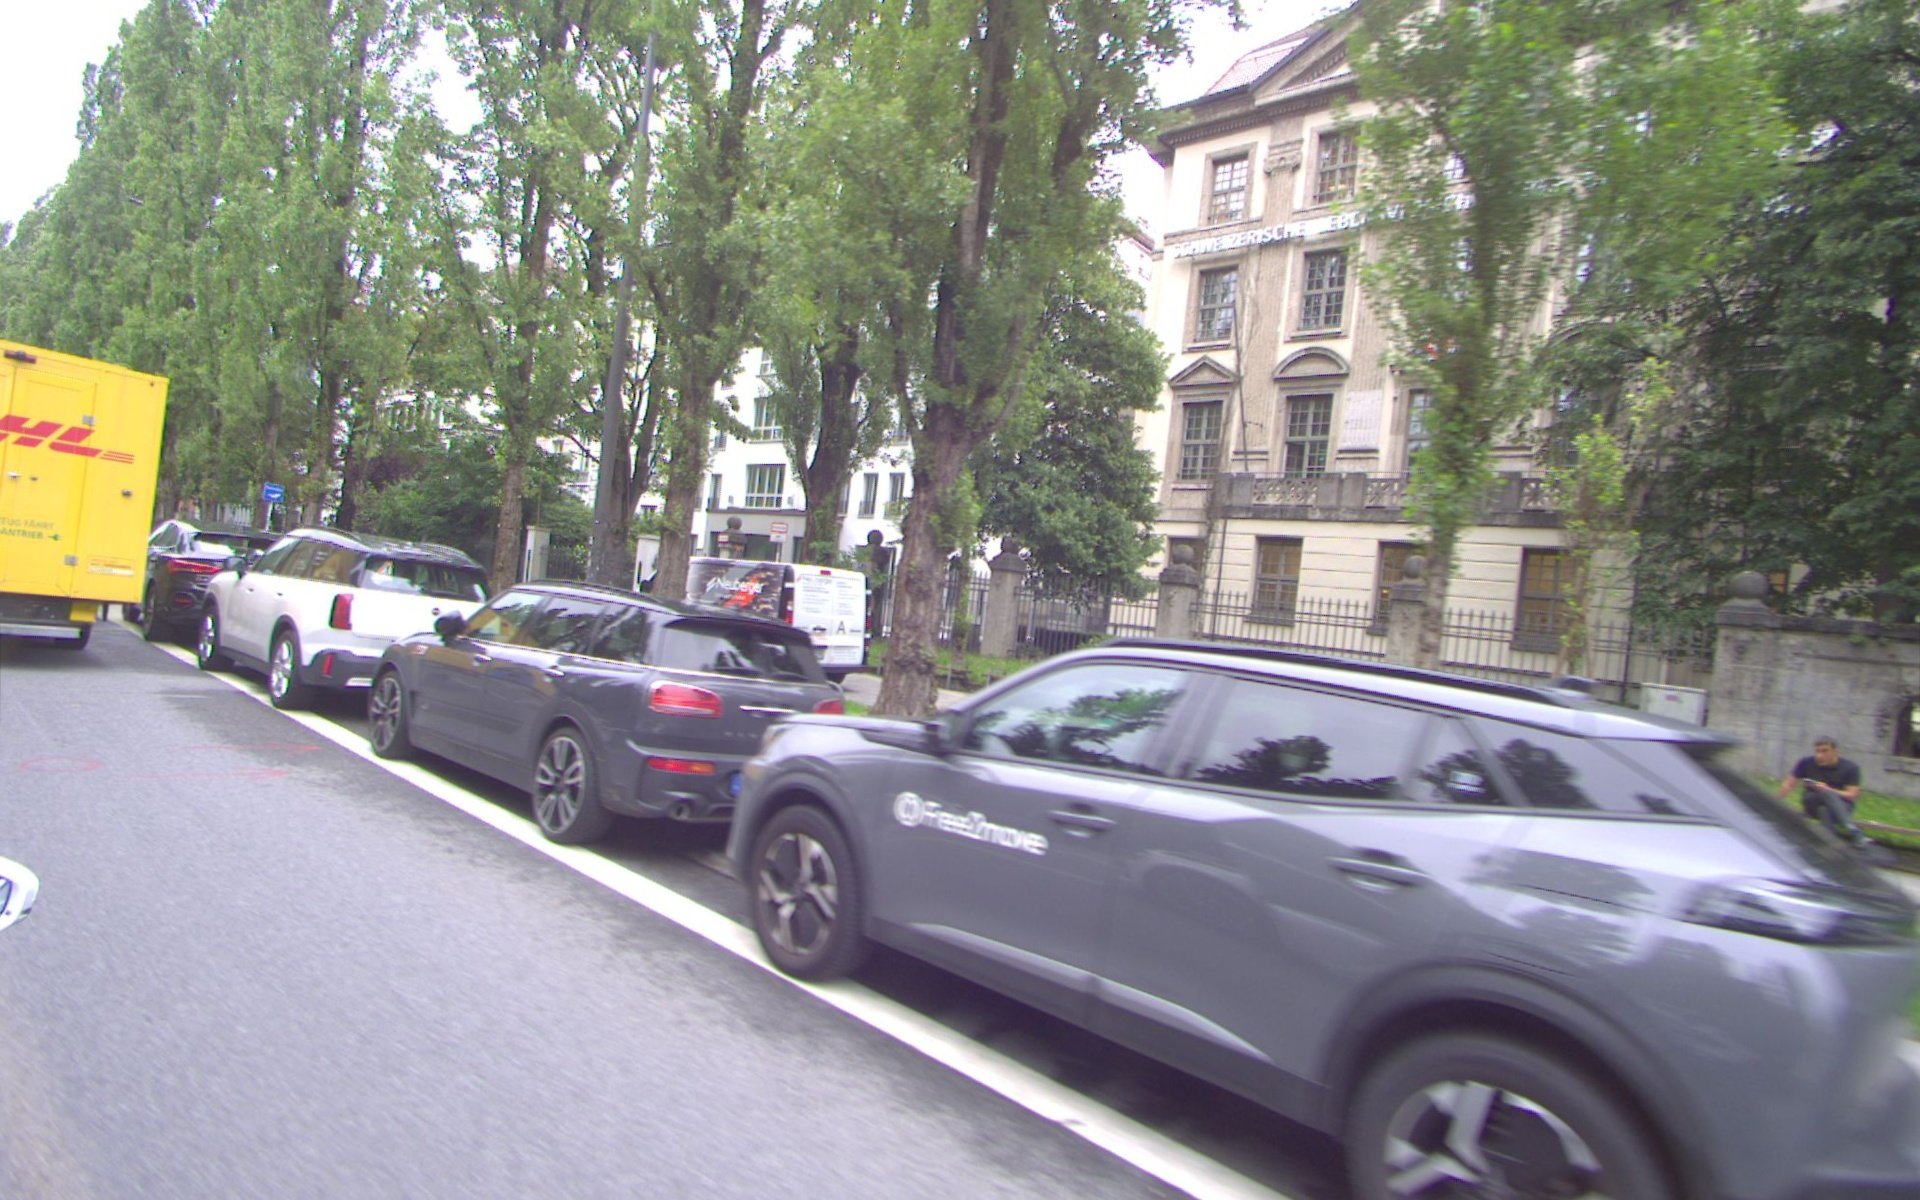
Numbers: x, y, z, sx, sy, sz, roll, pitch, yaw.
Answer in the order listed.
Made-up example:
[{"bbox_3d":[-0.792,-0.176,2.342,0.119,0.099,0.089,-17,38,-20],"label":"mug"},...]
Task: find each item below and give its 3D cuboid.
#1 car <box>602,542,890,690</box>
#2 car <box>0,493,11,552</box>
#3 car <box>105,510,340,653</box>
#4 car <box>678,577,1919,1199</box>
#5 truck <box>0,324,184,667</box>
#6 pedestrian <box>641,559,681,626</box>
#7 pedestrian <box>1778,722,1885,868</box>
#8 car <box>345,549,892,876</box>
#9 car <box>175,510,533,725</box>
[{"bbox_3d":[-3.859,0.214,17.488,5.249,1.949,1.991,6,-1,41],"label":"car"},{"bbox_3d":[-28.350,-2.377,28.496,4.030,1.614,1.676,6,-2,42],"label":"car"},{"bbox_3d":[-10.277,-0.310,13.884,4.265,1.513,1.722,6,-1,42],"label":"car"},{"bbox_3d":[0.885,0.905,3.751,4.056,1.521,1.650,6,-2,41],"label":"car"},{"bbox_3d":[-11.098,-1.208,11.214,7.230,2.933,2.324,6,0,41],"label":"truck"},{"bbox_3d":[-8.940,-0.220,30.098,0.926,1.889,0.770,6,1,-20],"label":"pedestrian"},{"bbox_3d":[8.713,1.916,10.074,0.662,1.260,0.877,7,2,41],"label":"pedestrian"},{"bbox_3d":[-2.573,0.595,7.007,4.090,1.462,1.633,6,-3,41],"label":"car"},{"bbox_3d":[-6.214,0.101,10.121,4.089,1.599,1.780,6,-2,41],"label":"car"}]
